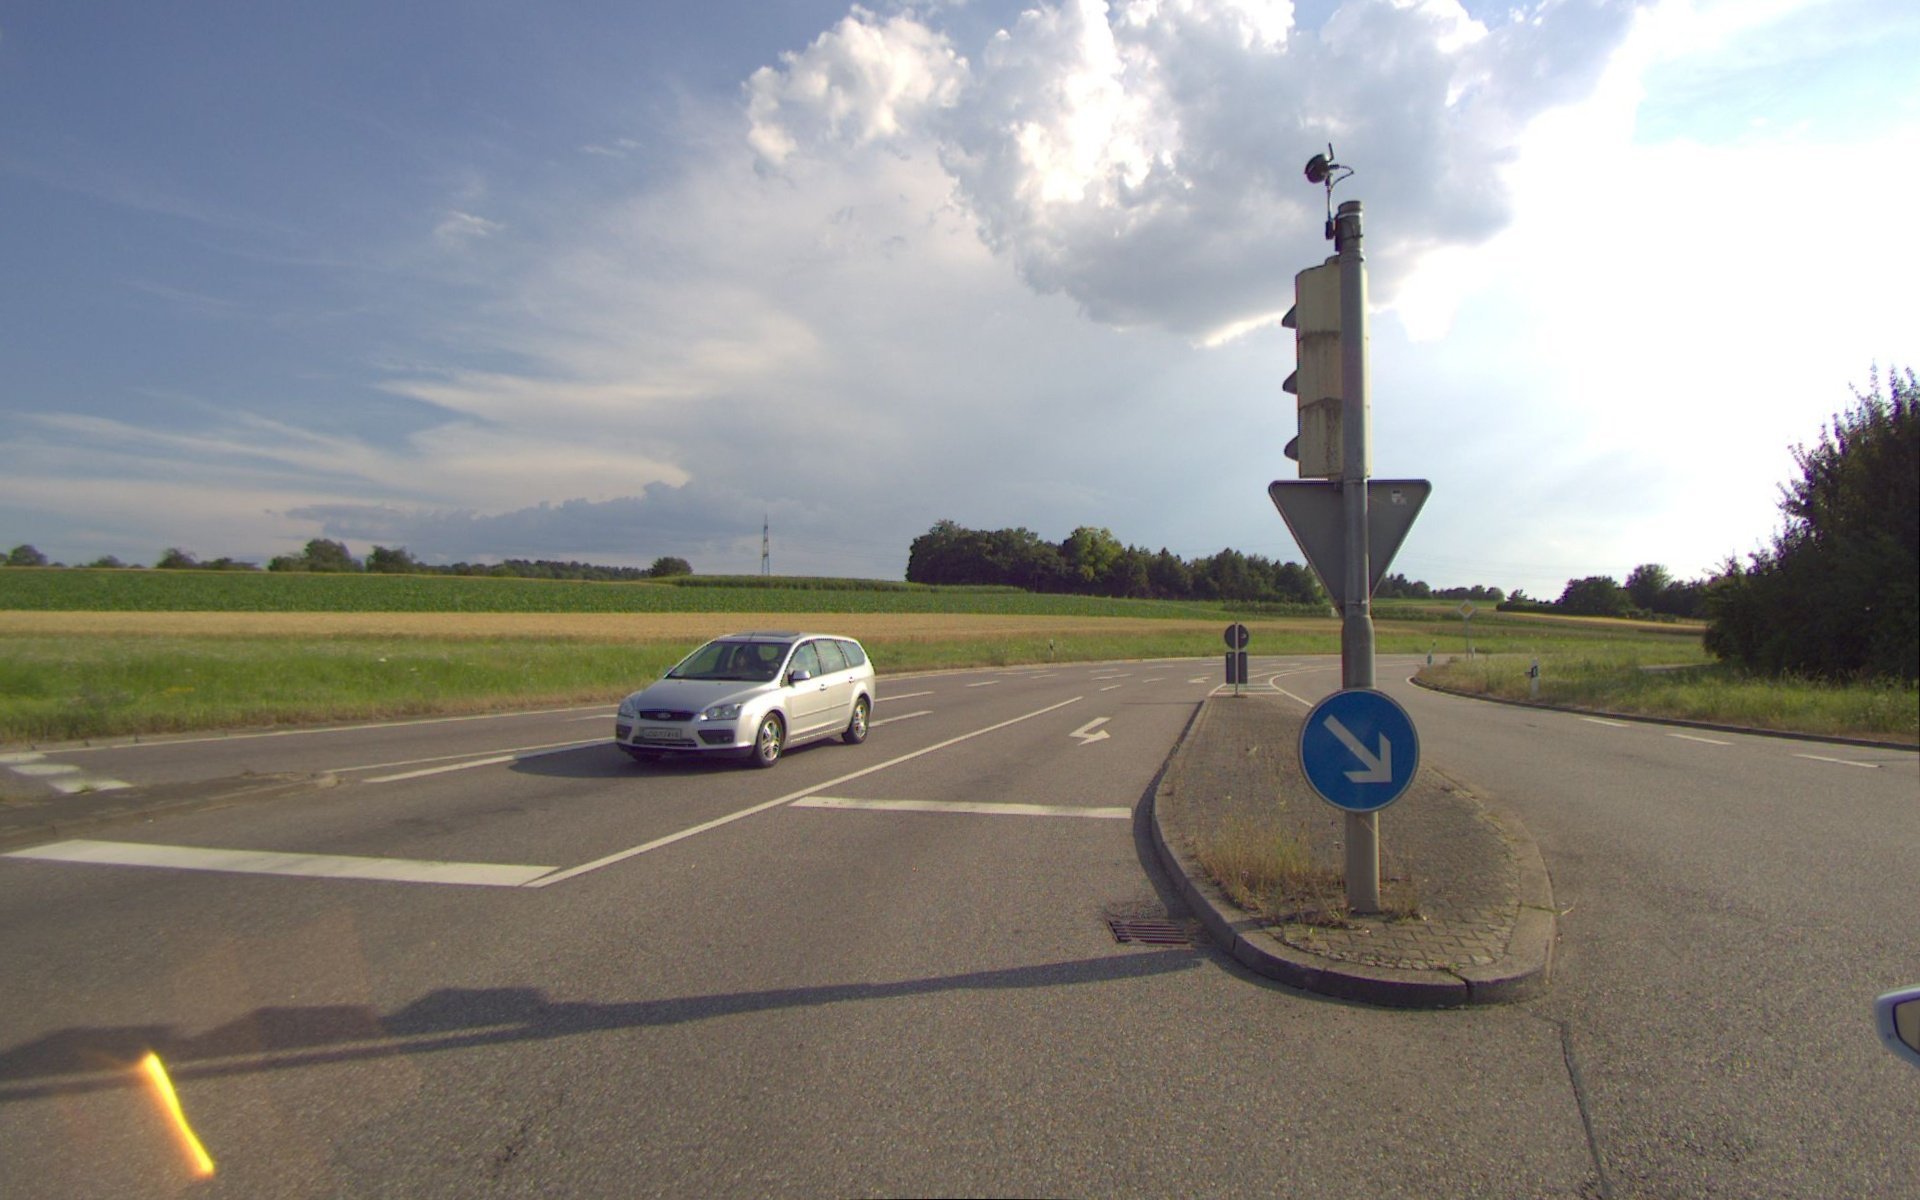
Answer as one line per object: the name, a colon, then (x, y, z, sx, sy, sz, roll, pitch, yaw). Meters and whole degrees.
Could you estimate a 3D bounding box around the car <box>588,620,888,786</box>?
car: (-2.524, 1.105, 12.644, 1.784, 1.549, 4.354, 1, 1, 17)
